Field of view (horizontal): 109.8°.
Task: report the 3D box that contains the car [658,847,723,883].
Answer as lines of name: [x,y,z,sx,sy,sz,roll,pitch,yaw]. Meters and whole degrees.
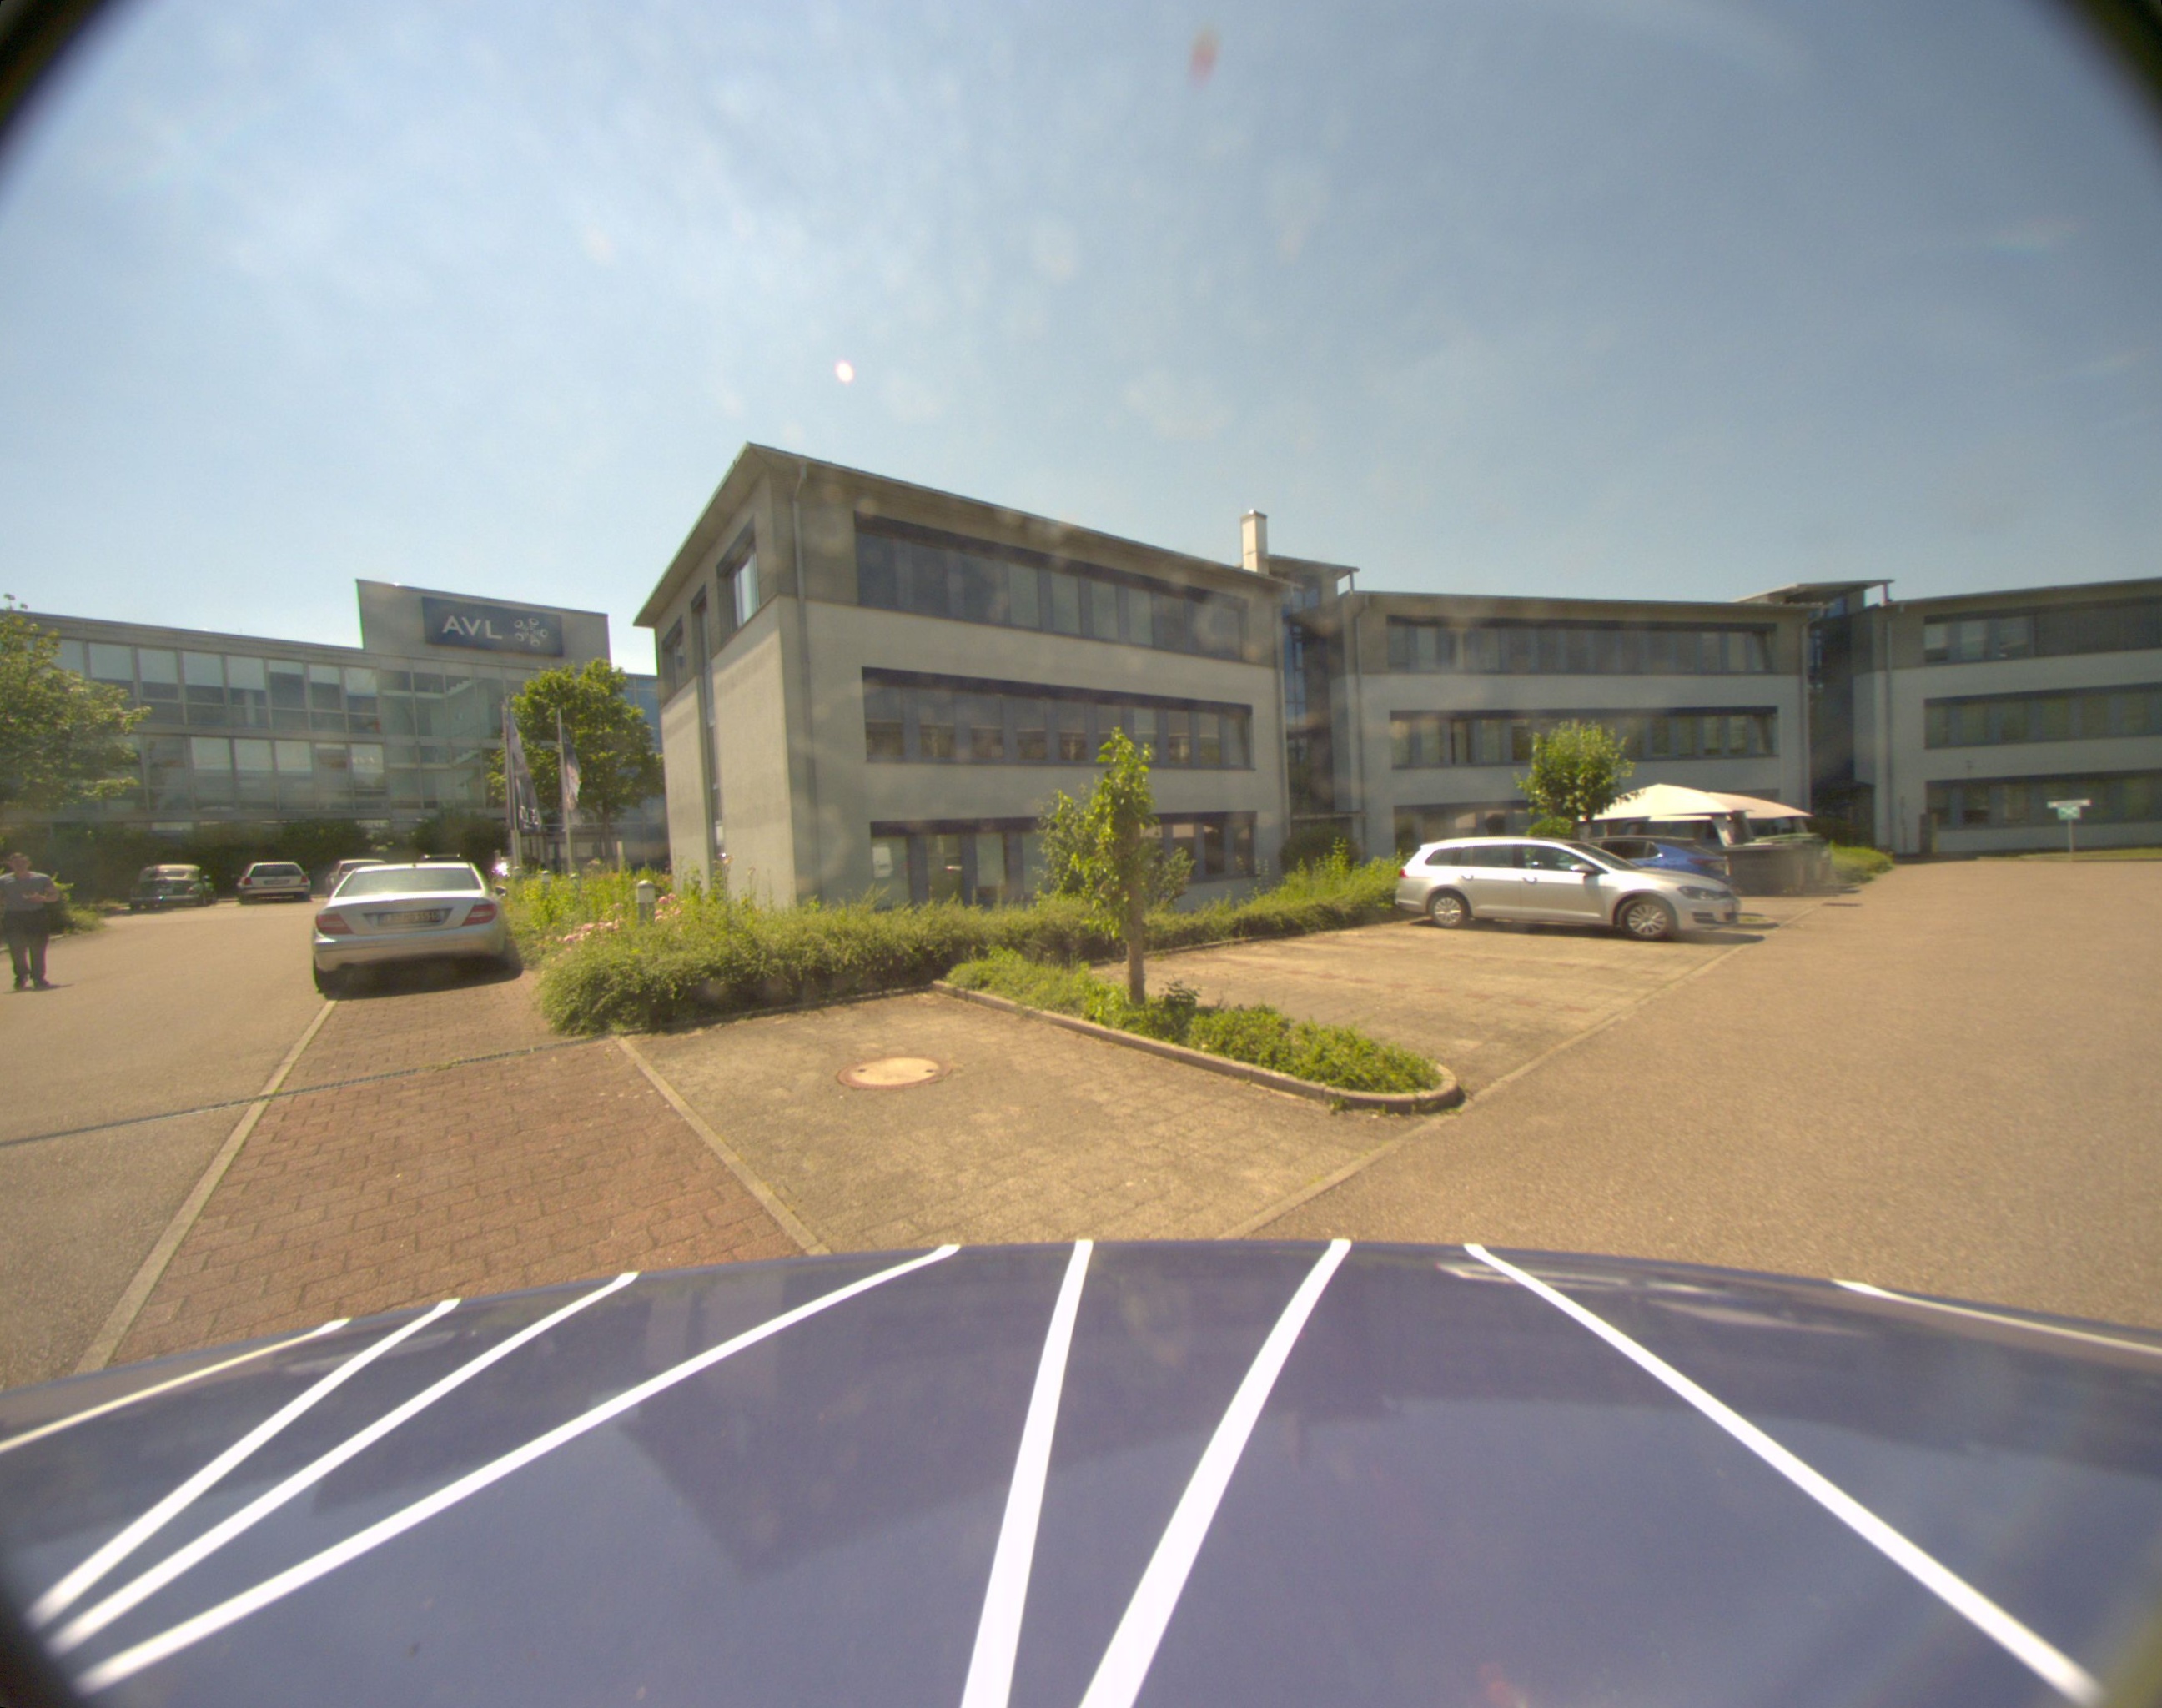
car: [-19.298,0.503,37.495,1.837,1.628,4.159,-3,2,-41]

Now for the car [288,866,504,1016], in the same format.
car: [-8.842,0.944,10.122,1.738,1.448,4.136,-3,2,-38]

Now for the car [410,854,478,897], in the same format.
car: [-26.209,0.819,31.214,1.943,1.594,3.848,-2,2,-43]

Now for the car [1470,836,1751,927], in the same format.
car: [10.014,0.477,14.620,2.003,1.453,3.990,-3,0,-38]

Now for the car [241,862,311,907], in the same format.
car: [-29.464,1.052,27.779,3.590,1.444,1.646,0,2,42]

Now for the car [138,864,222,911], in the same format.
car: [-31.090,1.099,26.293,1.526,1.437,3.409,-2,2,-44]

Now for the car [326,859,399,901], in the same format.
car: [-28.258,0.969,29.860,3.590,1.444,1.736,0,2,42]

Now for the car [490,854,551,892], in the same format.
car: [-24.487,0.775,33.153,1.734,1.476,4.384,-3,2,-41]

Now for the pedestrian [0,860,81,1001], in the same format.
pedestrian: [-13.985,0.985,10.025,0.766,1.759,0.811,1,4,42]

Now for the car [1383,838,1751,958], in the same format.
car: [7.337,0.567,11.863,1.866,1.464,4.471,-3,2,-41]
